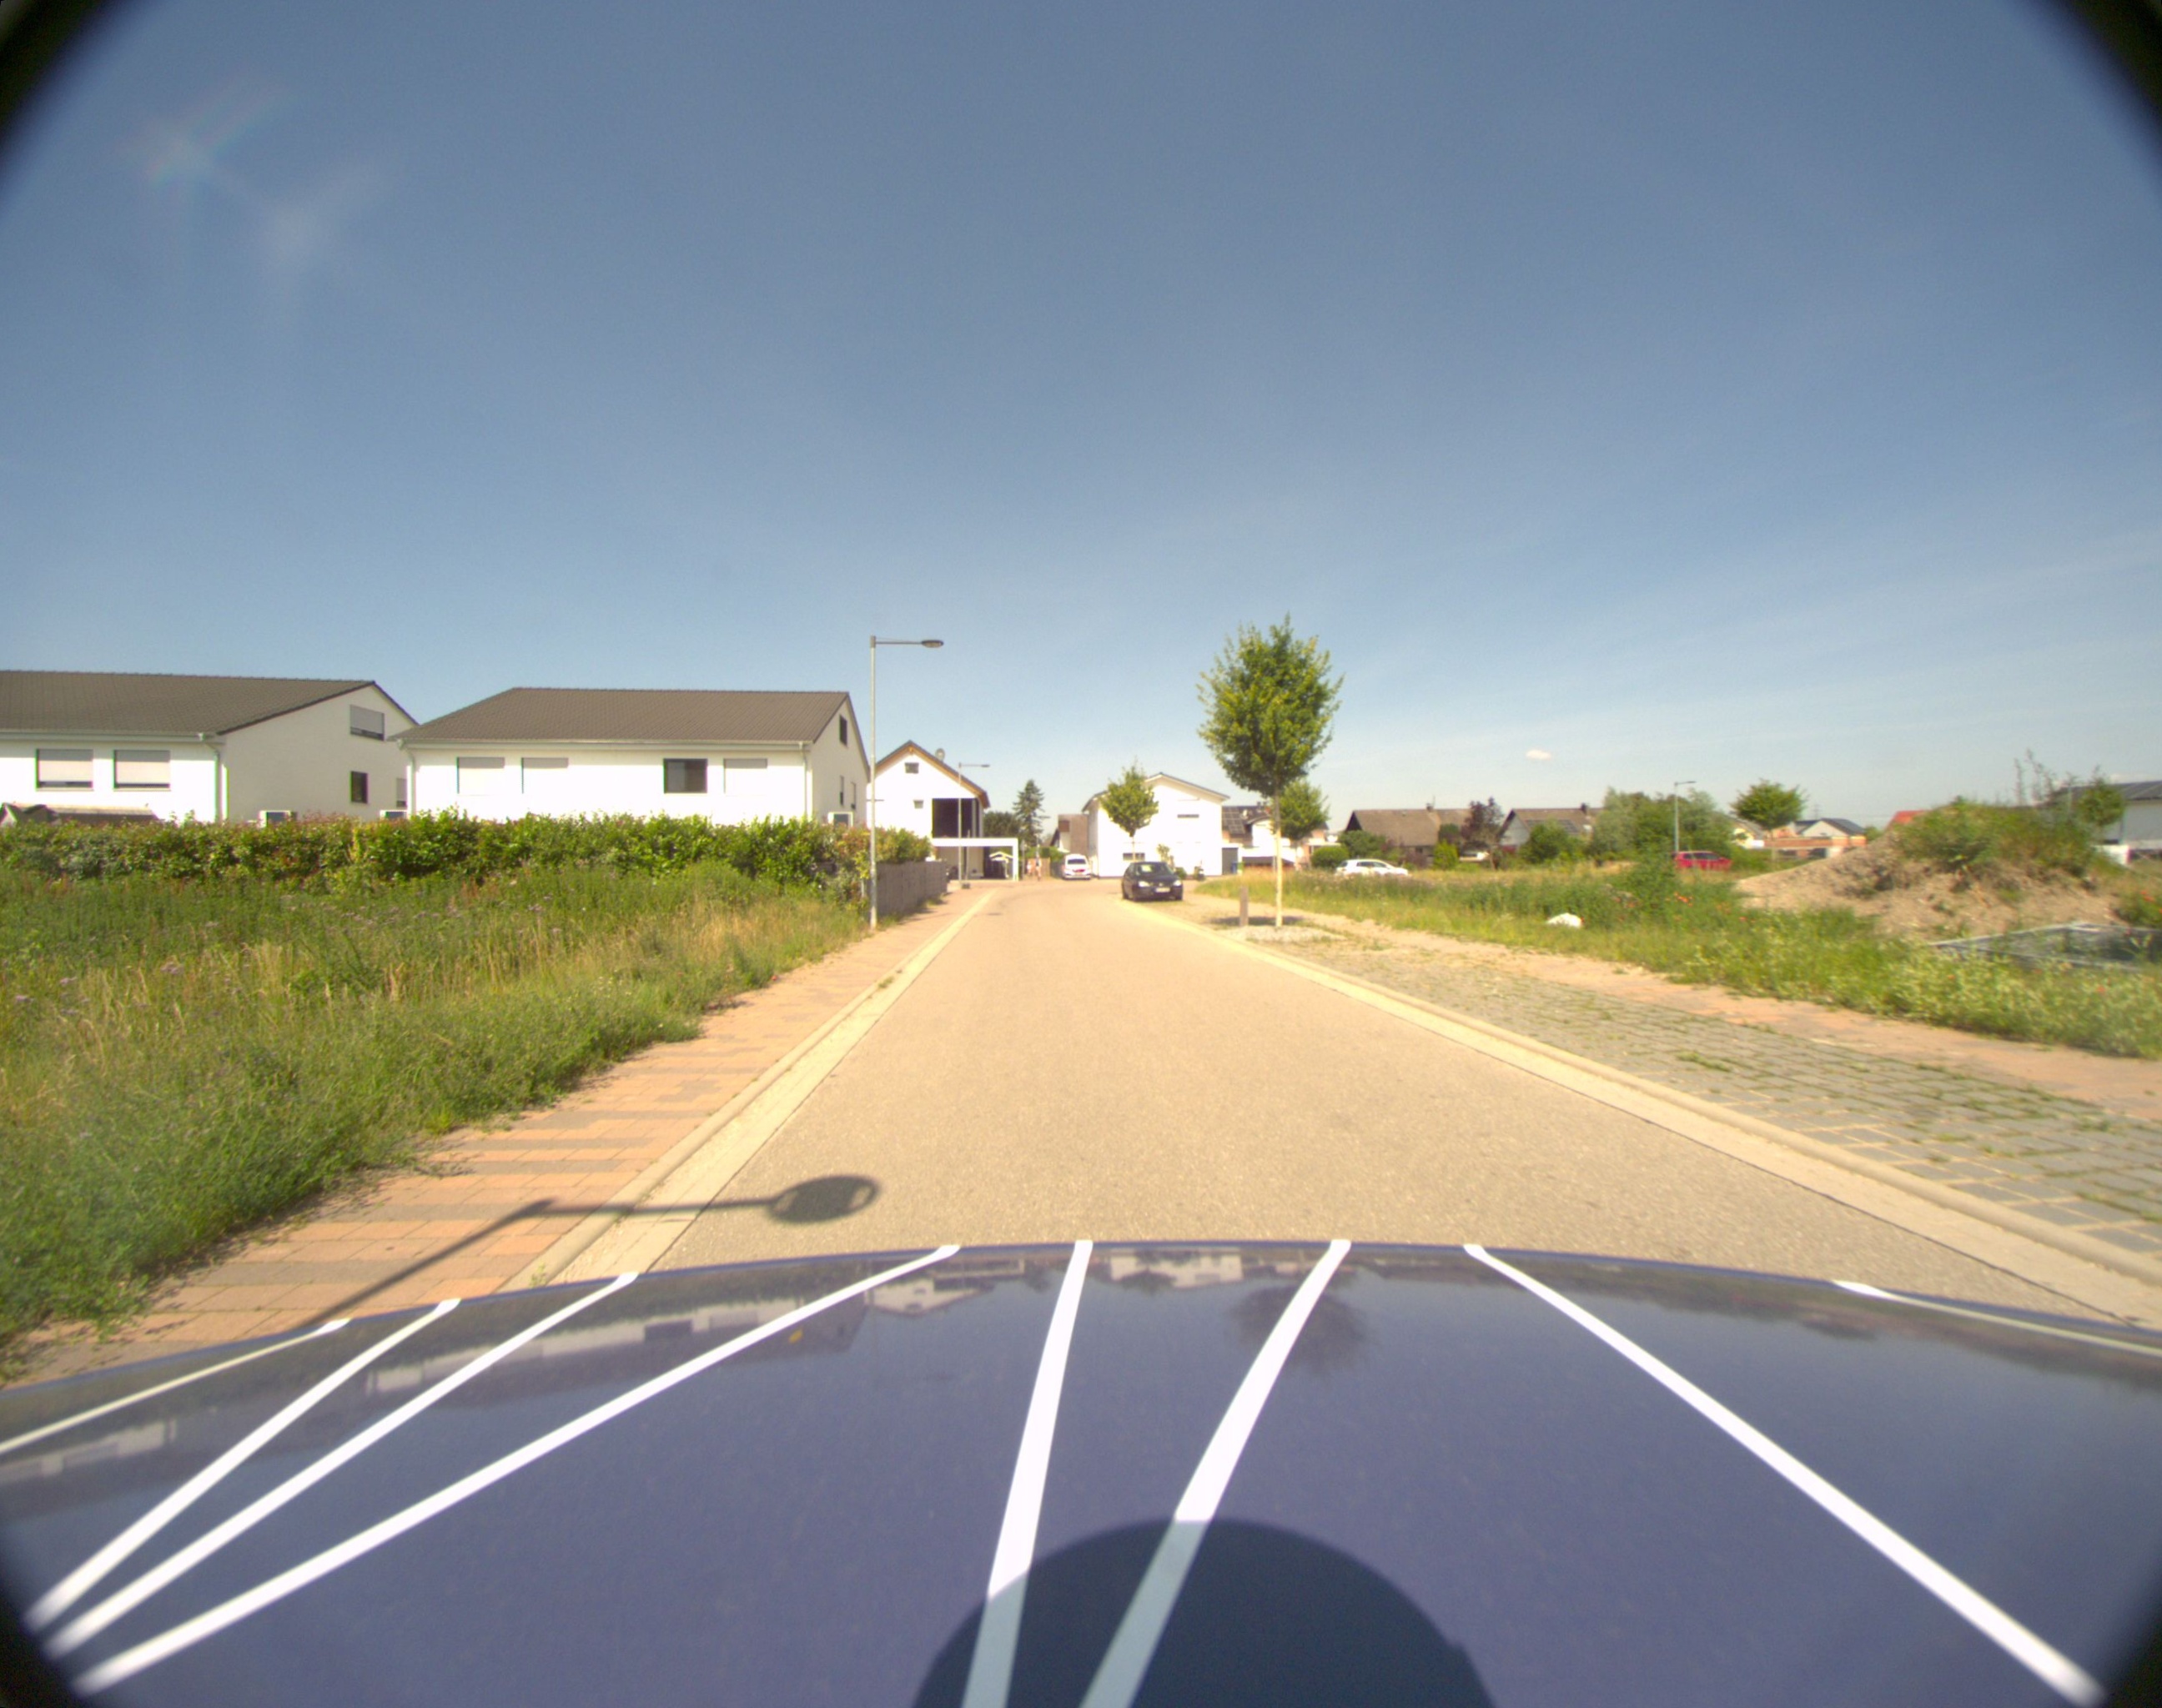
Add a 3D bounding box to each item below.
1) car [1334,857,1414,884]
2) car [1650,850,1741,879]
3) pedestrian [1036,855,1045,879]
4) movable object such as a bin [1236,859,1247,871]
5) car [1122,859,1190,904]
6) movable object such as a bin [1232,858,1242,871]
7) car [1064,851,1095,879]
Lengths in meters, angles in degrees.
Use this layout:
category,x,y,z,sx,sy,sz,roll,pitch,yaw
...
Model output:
category,x,y,z,sx,sy,sz,roll,pitch,yaw
car,16.985,0.932,44.194,3.997,1.494,1.810,0,0,1
car,36.176,0.601,44.768,3.998,1.606,1.809,0,0,-3
pedestrian,-2.892,0.932,54.318,0.551,1.710,0.819,0,0,0
movable object such as a bin,12.528,0.854,59.246,0.685,0.999,0.741,0,0,-2
car,2.719,0.971,28.387,1.817,1.445,4.142,-2,0,-4
movable object such as a bin,12.335,0.853,60.056,0.685,0.999,0.741,0,0,-2
car,-0.156,0.753,54.662,1.856,1.874,4.557,-2,0,-4
